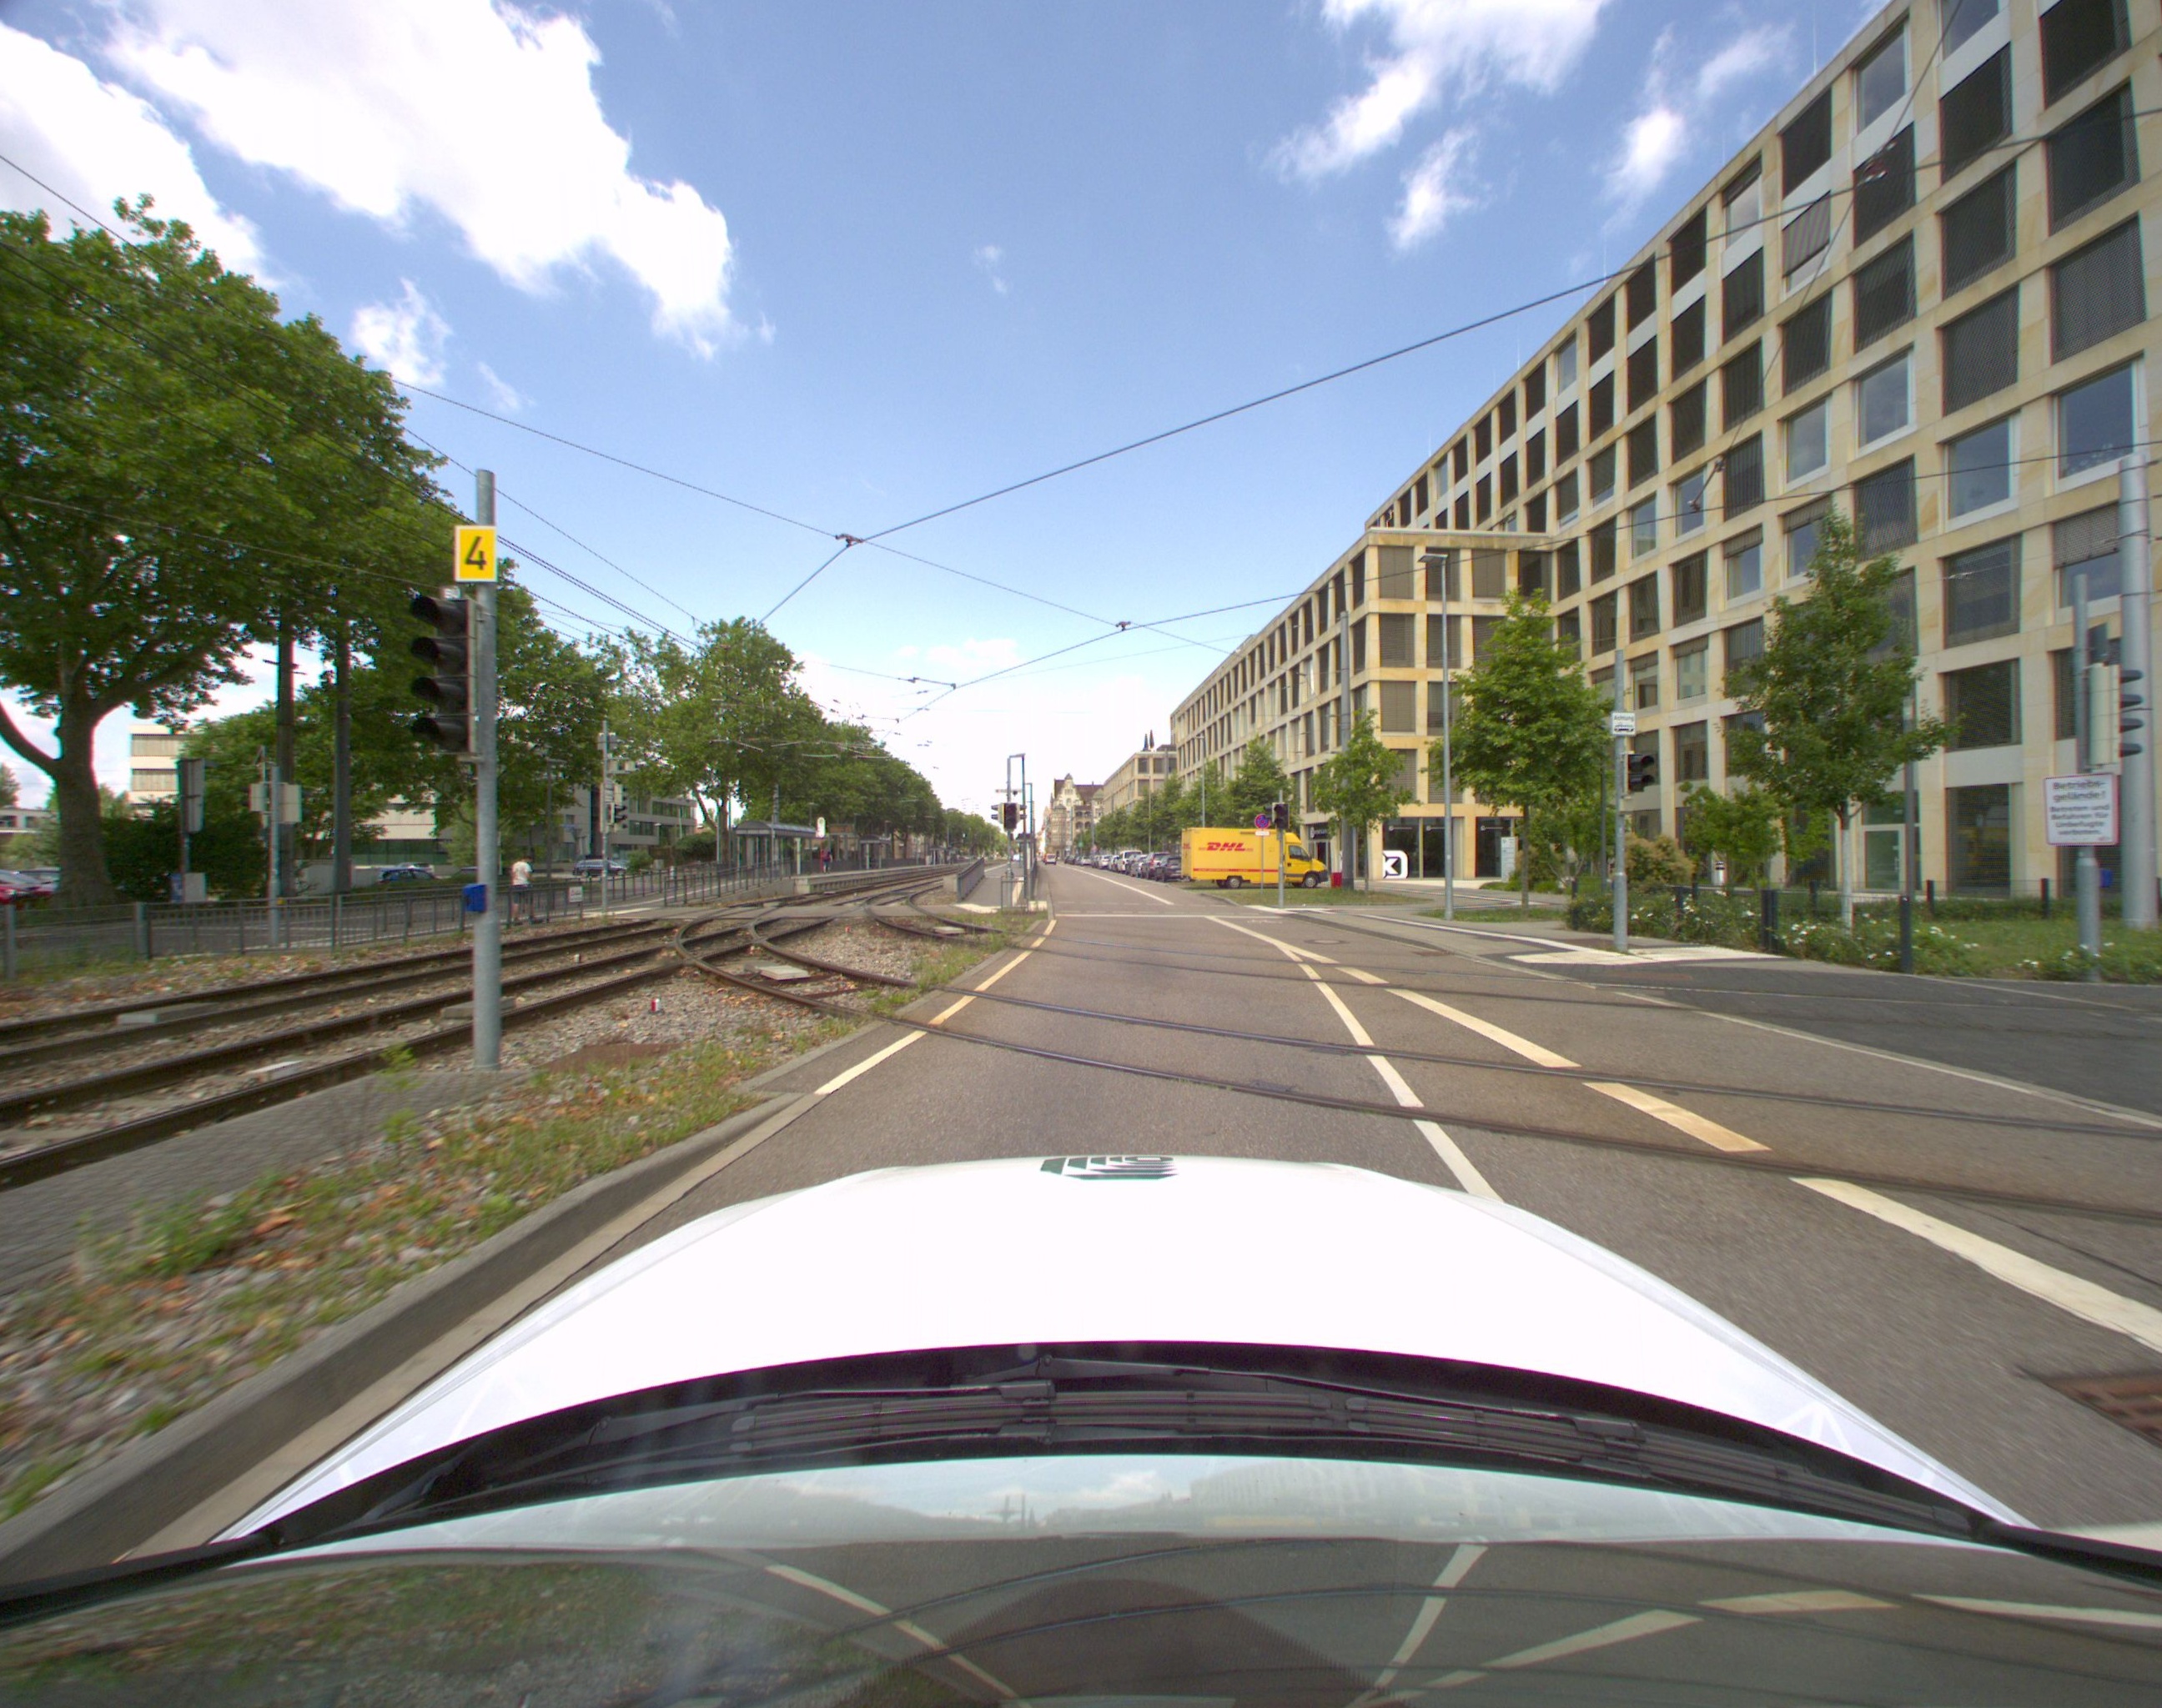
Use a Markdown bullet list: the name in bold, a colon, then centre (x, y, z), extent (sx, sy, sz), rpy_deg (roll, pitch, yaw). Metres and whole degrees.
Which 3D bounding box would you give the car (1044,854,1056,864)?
- **car**: centre (-5.257, 0.834, 138.162), extent (1.865, 1.746, 3.994), rpy_deg (1, 0, -4)

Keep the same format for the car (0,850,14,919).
- **car**: centre (-29.459, 0.813, 19.902), extent (3.983, 1.750, 1.799), rpy_deg (-1, 0, -7)

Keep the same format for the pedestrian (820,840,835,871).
- **pedestrian**: centre (-15.556, 0.104, 49.957), extent (0.705, 1.845, 0.863), rpy_deg (-1, 0, -5)

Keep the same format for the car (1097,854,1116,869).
- **car**: centre (2.835, 0.789, 90.419), extent (1.682, 1.606, 4.146), rpy_deg (-2, 0, -4)

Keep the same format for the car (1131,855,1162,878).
- **car**: centre (4.638, 0.874, 58.230), extent (1.717, 1.620, 3.854), rpy_deg (0, 0, -4)

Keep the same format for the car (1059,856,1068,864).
- **car**: centre (-3.419, 1.143, 160.718), extent (1.441, 1.470, 4.084), rpy_deg (-2, 0, -6)

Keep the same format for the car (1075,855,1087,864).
- **car**: centre (-0.048, 0.830, 134.330), extent (1.589, 1.434, 4.099), rpy_deg (2, 0, -6)

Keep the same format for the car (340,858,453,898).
- **car**: centre (-29.016, 0.989, 34.664), extent (1.685, 1.534, 3.652), rpy_deg (-1, 0, 0)

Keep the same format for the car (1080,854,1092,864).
- **car**: centre (0.731, 0.817, 123.058), extent (1.587, 1.460, 3.609), rpy_deg (1, 0, -3)

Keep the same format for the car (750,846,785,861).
- **car**: centre (-44.865, -0.063, 116.544), extent (4.130, 2.034, 1.957), rpy_deg (-2, -1, -5)

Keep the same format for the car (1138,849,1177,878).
- **car**: centre (4.936, 0.609, 52.993), extent (1.765, 1.767, 4.833), rpy_deg (0, 0, -4)

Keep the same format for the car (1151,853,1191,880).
- **car**: centre (5.224, 0.699, 47.804), extent (1.688, 1.505, 4.062), rpy_deg (0, 0, -4)

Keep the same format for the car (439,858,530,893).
- **car**: centre (-28.847, 1.012, 39.535), extent (1.685, 1.534, 3.652), rpy_deg (-1, 0, 0)

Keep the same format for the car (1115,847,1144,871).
- **car**: centre (4.129, 0.396, 69.626), extent (1.878, 1.939, 4.836), rpy_deg (-2, 0, -4)

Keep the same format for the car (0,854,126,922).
- **car**: centre (-29.095, 0.902, 22.062), extent (3.983, 1.750, 1.799), rpy_deg (-1, 0, -7)

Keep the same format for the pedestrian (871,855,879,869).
- **pedestrian**: centre (-18.097, 0.689, 71.643), extent (0.551, 1.269, 0.767), rpy_deg (0, 0, -2)

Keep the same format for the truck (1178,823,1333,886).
- **truck**: centre (8.188, 0.022, 38.578), extent (6.797, 2.867, 2.449), rpy_deg (0, -1, -6)

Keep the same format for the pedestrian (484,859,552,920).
- **pedestrian**: centre (-12.974, 0.810, 18.795), extent (0.914, 1.343, 0.867), rpy_deg (-2, -1, 10)
